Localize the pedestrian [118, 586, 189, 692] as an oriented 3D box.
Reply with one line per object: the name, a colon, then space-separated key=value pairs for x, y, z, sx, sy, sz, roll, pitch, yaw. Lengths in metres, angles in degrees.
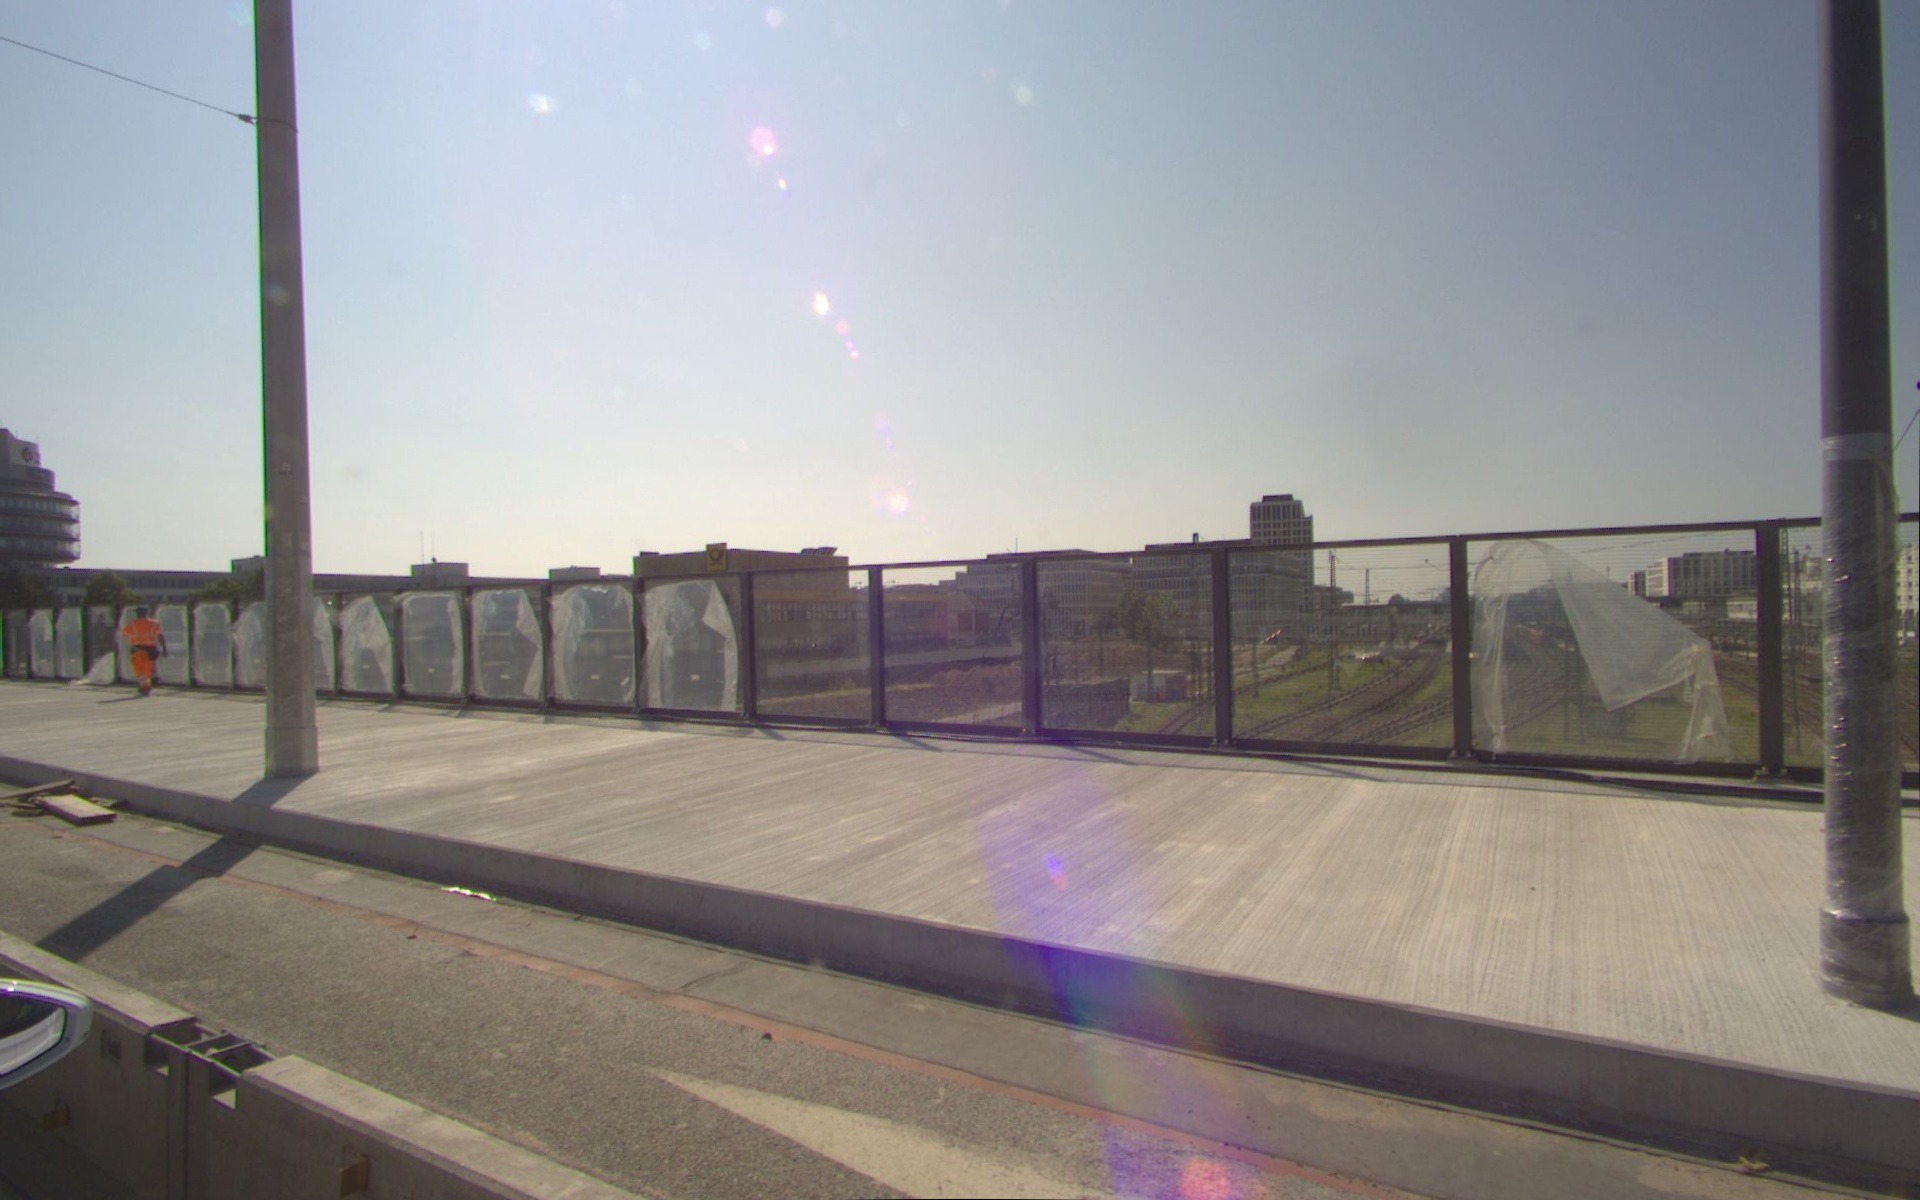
pedestrian: x=-15.567 y=0.741 z=19.334 sx=1.002 sy=1.991 sz=0.729 roll=-1 pitch=1 yaw=33
